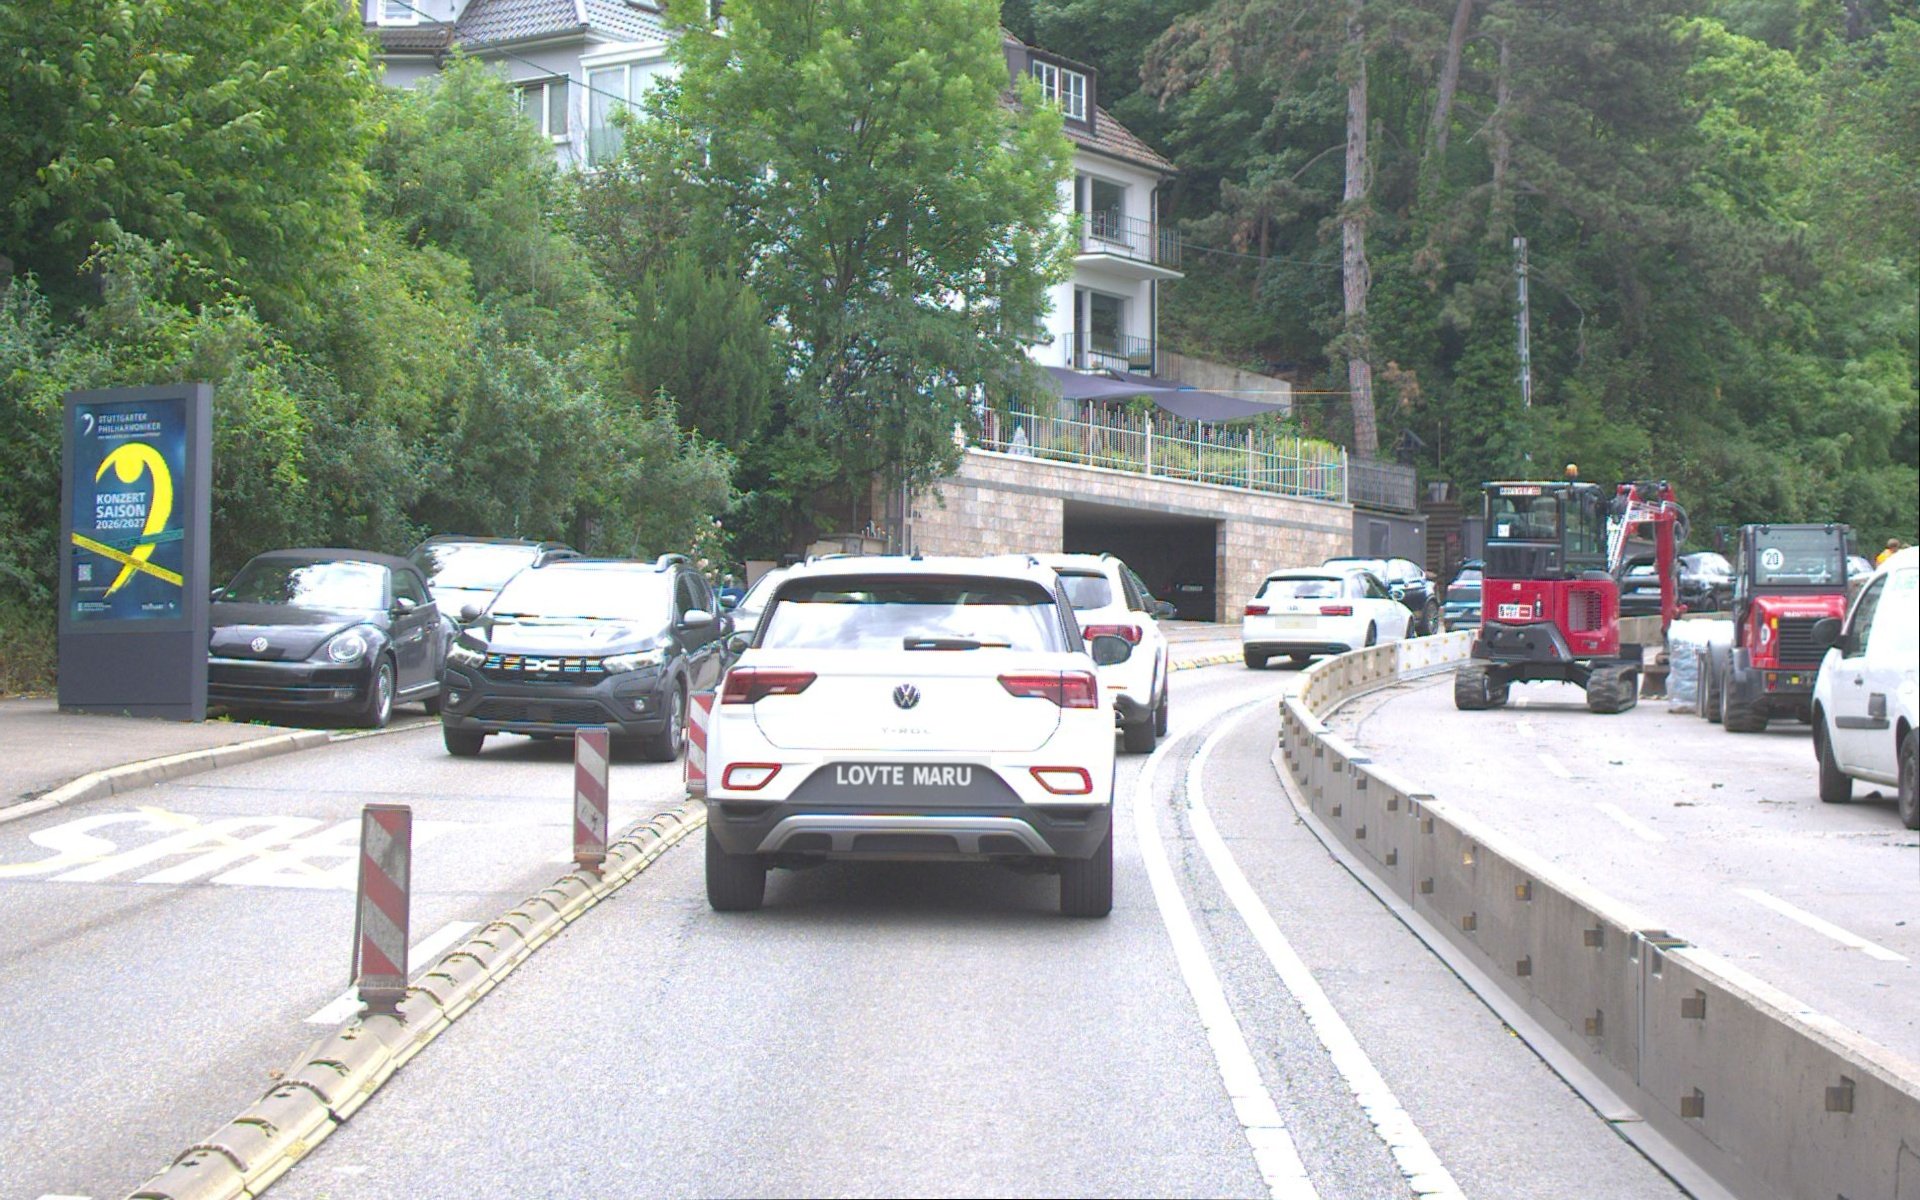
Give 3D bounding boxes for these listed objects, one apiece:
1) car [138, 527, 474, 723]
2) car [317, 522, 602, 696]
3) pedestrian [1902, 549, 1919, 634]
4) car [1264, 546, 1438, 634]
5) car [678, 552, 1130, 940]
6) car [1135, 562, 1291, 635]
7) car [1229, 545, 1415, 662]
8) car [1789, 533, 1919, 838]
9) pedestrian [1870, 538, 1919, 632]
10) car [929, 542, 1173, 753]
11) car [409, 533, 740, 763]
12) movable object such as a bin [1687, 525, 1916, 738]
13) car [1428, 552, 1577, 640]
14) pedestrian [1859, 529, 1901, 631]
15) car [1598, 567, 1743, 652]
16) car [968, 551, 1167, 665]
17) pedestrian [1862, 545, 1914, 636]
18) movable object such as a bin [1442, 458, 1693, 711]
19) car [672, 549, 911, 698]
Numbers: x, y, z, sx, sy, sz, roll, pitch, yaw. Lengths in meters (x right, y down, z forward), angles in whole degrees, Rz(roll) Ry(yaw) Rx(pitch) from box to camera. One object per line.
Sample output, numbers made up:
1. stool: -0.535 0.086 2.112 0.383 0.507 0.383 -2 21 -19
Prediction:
1. car: -5.612 0.181 29.986 1.794 1.505 3.999 3 1 5
2. car: -5.075 0.073 35.386 1.687 1.600 4.185 3 1 9
3. pedestrian: 18.191 -0.165 64.550 0.784 1.602 0.666 0 1 38
4. car: 7.390 -0.205 64.627 1.770 1.562 4.223 2 1 29
5. car: -0.257 0.572 16.097 1.809 1.526 4.000 2 1 -1
6. car: 5.502 -0.017 74.322 1.785 1.448 3.695 2 -1 32
7. car: 5.398 0.030 50.851 1.811 1.657 3.996 -1 1 20
8. car: 6.639 0.476 22.064 1.833 1.773 4.268 1 1 4
9. pedestrian: 18.189 -0.300 66.781 0.877 1.816 0.877 0 1 22
10. car: 0.846 0.356 29.389 1.810 1.657 3.999 -1 1 5
11. car: -2.923 0.326 26.870 1.815 1.616 3.818 2 1 5
12. movable object such as a bin: 8.203 0.256 33.817 1.702 1.936 4.163 1 1 7
13. car: 9.748 -0.088 61.552 1.796 1.505 3.996 -1 1 21
14. pedestrian: 17.354 -0.379 64.838 0.690 1.900 0.825 0 1 10
15. car: 14.602 0.170 70.522 1.812 1.657 3.994 0 1 29
16. car: 1.644 0.081 50.924 1.797 1.441 4.359 2 3 18
17. pedestrian: 17.783 -0.181 65.863 0.877 1.725 0.877 0 1 22
18. movable object such as a bin: 6.959 -0.201 38.948 2.213 2.654 4.941 1 1 16
19. car: -1.780 0.239 37.700 1.796 1.477 4.327 2 0 8
